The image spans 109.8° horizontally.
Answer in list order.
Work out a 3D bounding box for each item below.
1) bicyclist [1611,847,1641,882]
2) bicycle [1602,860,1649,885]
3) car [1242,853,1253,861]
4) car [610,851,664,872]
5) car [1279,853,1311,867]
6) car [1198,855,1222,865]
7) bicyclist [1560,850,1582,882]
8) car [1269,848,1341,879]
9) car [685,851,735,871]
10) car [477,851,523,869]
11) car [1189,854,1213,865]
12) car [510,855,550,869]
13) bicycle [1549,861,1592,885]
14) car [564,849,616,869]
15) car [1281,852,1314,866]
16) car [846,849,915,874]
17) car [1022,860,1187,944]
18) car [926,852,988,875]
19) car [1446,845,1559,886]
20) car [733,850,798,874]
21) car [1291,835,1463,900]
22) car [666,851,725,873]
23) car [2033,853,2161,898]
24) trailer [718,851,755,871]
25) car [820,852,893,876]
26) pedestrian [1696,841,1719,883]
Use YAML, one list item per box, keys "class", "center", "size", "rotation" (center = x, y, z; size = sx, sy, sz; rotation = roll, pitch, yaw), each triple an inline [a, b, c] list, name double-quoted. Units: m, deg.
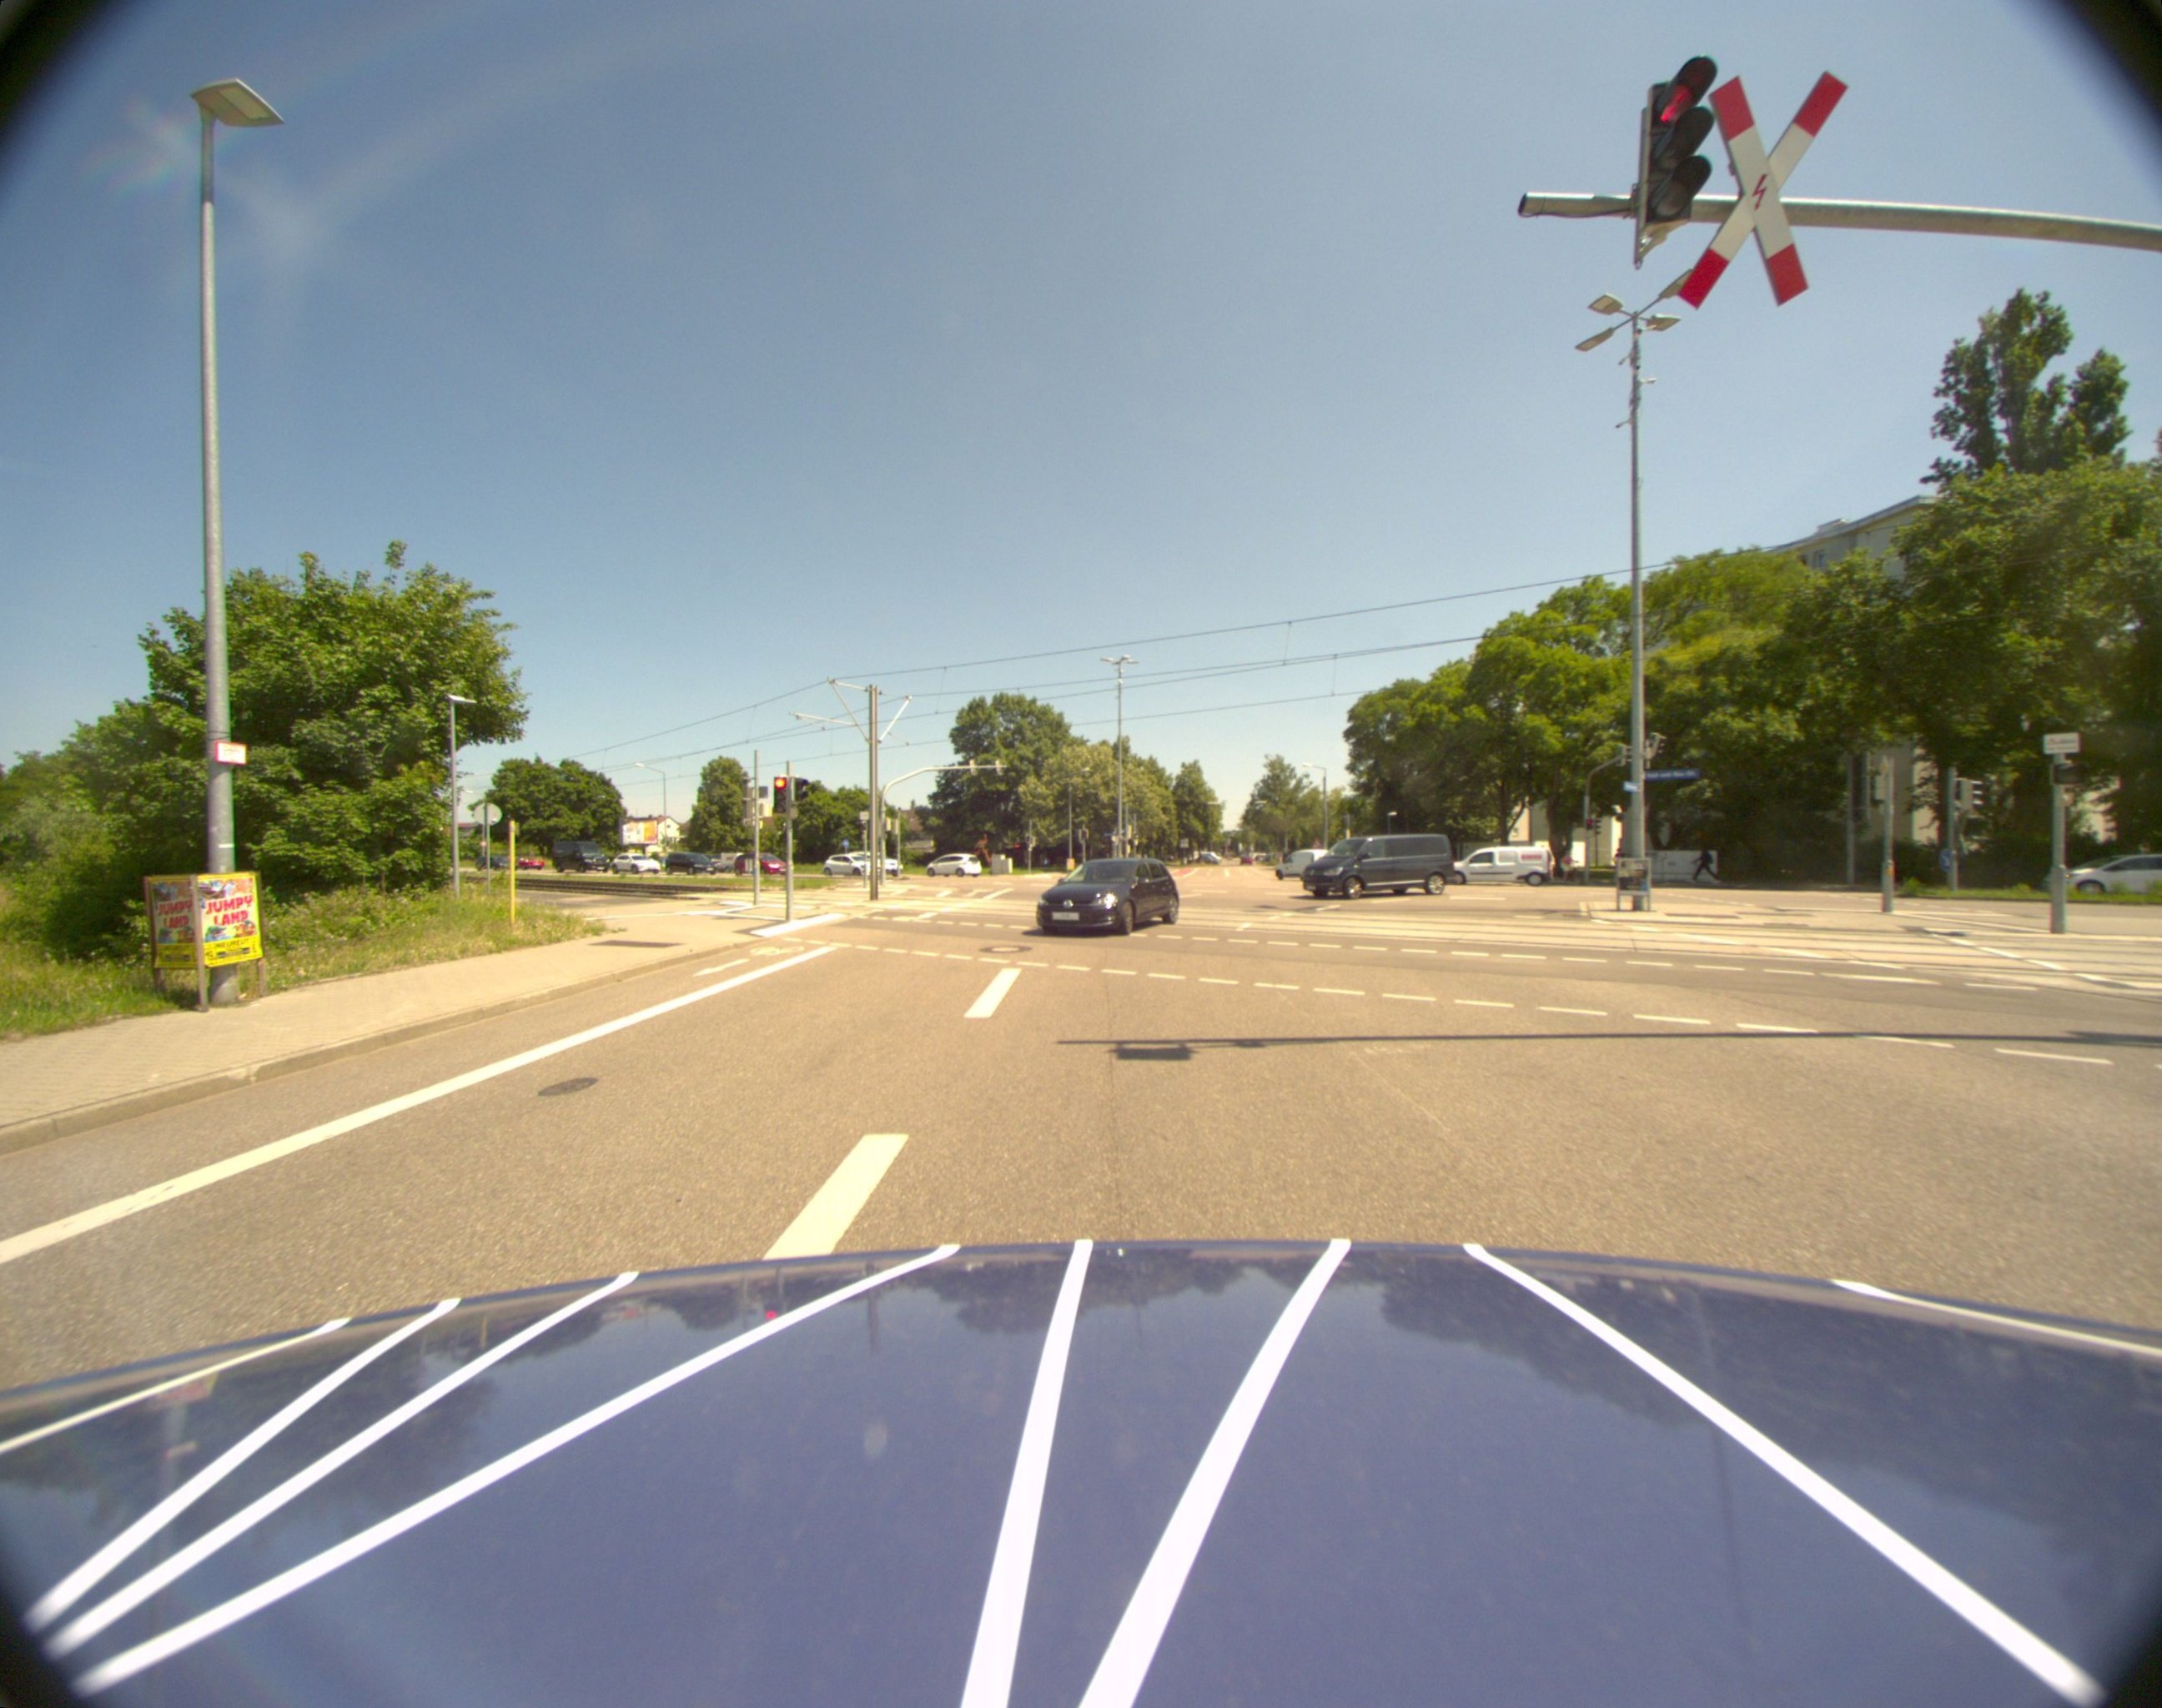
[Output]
- class: "bicyclist"
  center: [25.189, 0.484, 35.135]
  size: [0.648, 1.536, 0.908]
  rotation: [-1, 3, -13]
- class: "bicycle"
  center: [25.195, 0.844, 35.215]
  size: [0.616, 1.057, 1.803]
  rotation: [-1, 3, -13]
- class: "car"
  center: [26.806, 0.483, 122.385]
  size: [1.582, 1.219, 3.497]
  rotation: [-1, -2, 12]
- class: "car"
  center: [-34.253, 0.544, 58.567]
  size: [4.399, 1.567, 1.734]
  rotation: [0, -1, 33]
- class: "car"
  center: [25.141, 0.673, 89.228]
  size: [3.487, 1.570, 1.586]
  rotation: [-1, -2, 9]
- class: "car"
  center: [19.505, 0.956, 115.074]
  size: [3.487, 1.467, 1.586]
  rotation: [-1, -2, 9]
- class: "bicyclist"
  center: [23.069, 0.548, 35.782]
  size: [0.616, 1.460, 0.628]
  rotation: [-1, 3, -13]
- class: "car"
  center: [13.046, 0.578, 44.488]
  size: [1.813, 1.707, 4.336]
  rotation: [0, -1, -19]
- class: "car"
  center: [-31.815, 0.615, 65.136]
  size: [4.396, 1.648, 1.735]
  rotation: [0, -1, 31]
- class: "car"
  center: [-53.145, 0.556, 69.478]
  size: [4.399, 1.567, 1.879]
  rotation: [0, -1, 33]
- class: "car"
  center: [18.974, 0.899, 120.232]
  size: [3.768, 1.718, 1.764]
  rotation: [-1, -2, 9]
- class: "car"
  center: [-56.055, 0.784, 77.260]
  size: [4.299, 1.340, 1.770]
  rotation: [0, -1, 33]
- class: "bicycle"
  center: [23.180, 0.880, 36.013]
  size: [0.616, 1.057, 1.804]
  rotation: [-1, 0, -13]
- class: "car"
  center: [-40.531, 0.436, 62.701]
  size: [4.399, 1.567, 1.879]
  rotation: [0, -1, 33]
- class: "car"
  center: [24.787, 0.600, 87.129]
  size: [3.487, 1.570, 1.586]
  rotation: [-1, -2, 9]
- class: "car"
  center: [-13.281, 0.500, 50.252]
  size: [4.399, 1.567, 1.879]
  rotation: [0, -1, 33]
- class: "car"
  center: [0.626, 0.858, 15.329]
  size: [1.705, 1.396, 4.061]
  rotation: [-1, 0, 27]
- class: "car"
  center: [-8.337, 0.609, 50.925]
  size: [3.887, 1.496, 1.735]
  rotation: [0, 0, 30]
- class: "car"
  center: [19.061, 0.527, 34.464]
  size: [4.380, 1.782, 1.901]
  rotation: [0, -2, 31]
- class: "car"
  center: [-21.266, 0.540, 51.191]
  size: [4.399, 1.567, 1.879]
  rotation: [0, -1, 33]
- class: "car"
  center: [9.350, 0.392, 24.118]
  size: [4.848, 1.920, 1.940]
  rotation: [-1, 1, -13]
- class: "car"
  center: [-27.996, 0.567, 55.129]
  size: [4.399, 1.567, 1.879]
  rotation: [0, -1, 33]
- class: "car"
  center: [34.941, 0.699, 24.946]
  size: [4.203, 1.416, 1.853]
  rotation: [0, -1, 32]
- class: "trailer"
  center: [-28.688, 0.597, 63.220]
  size: [2.929, 1.645, 1.412]
  rotation: [0, 0, 31]
- class: "car"
  center: [-13.800, 0.619, 46.654]
  size: [4.399, 1.380, 1.879]
  rotation: [0, -1, 33]
- class: "pedestrian"
  center: [28.218, 0.353, 34.218]
  size: [0.677, 1.825, 0.609]
  rotation: [0, 2, 30]
